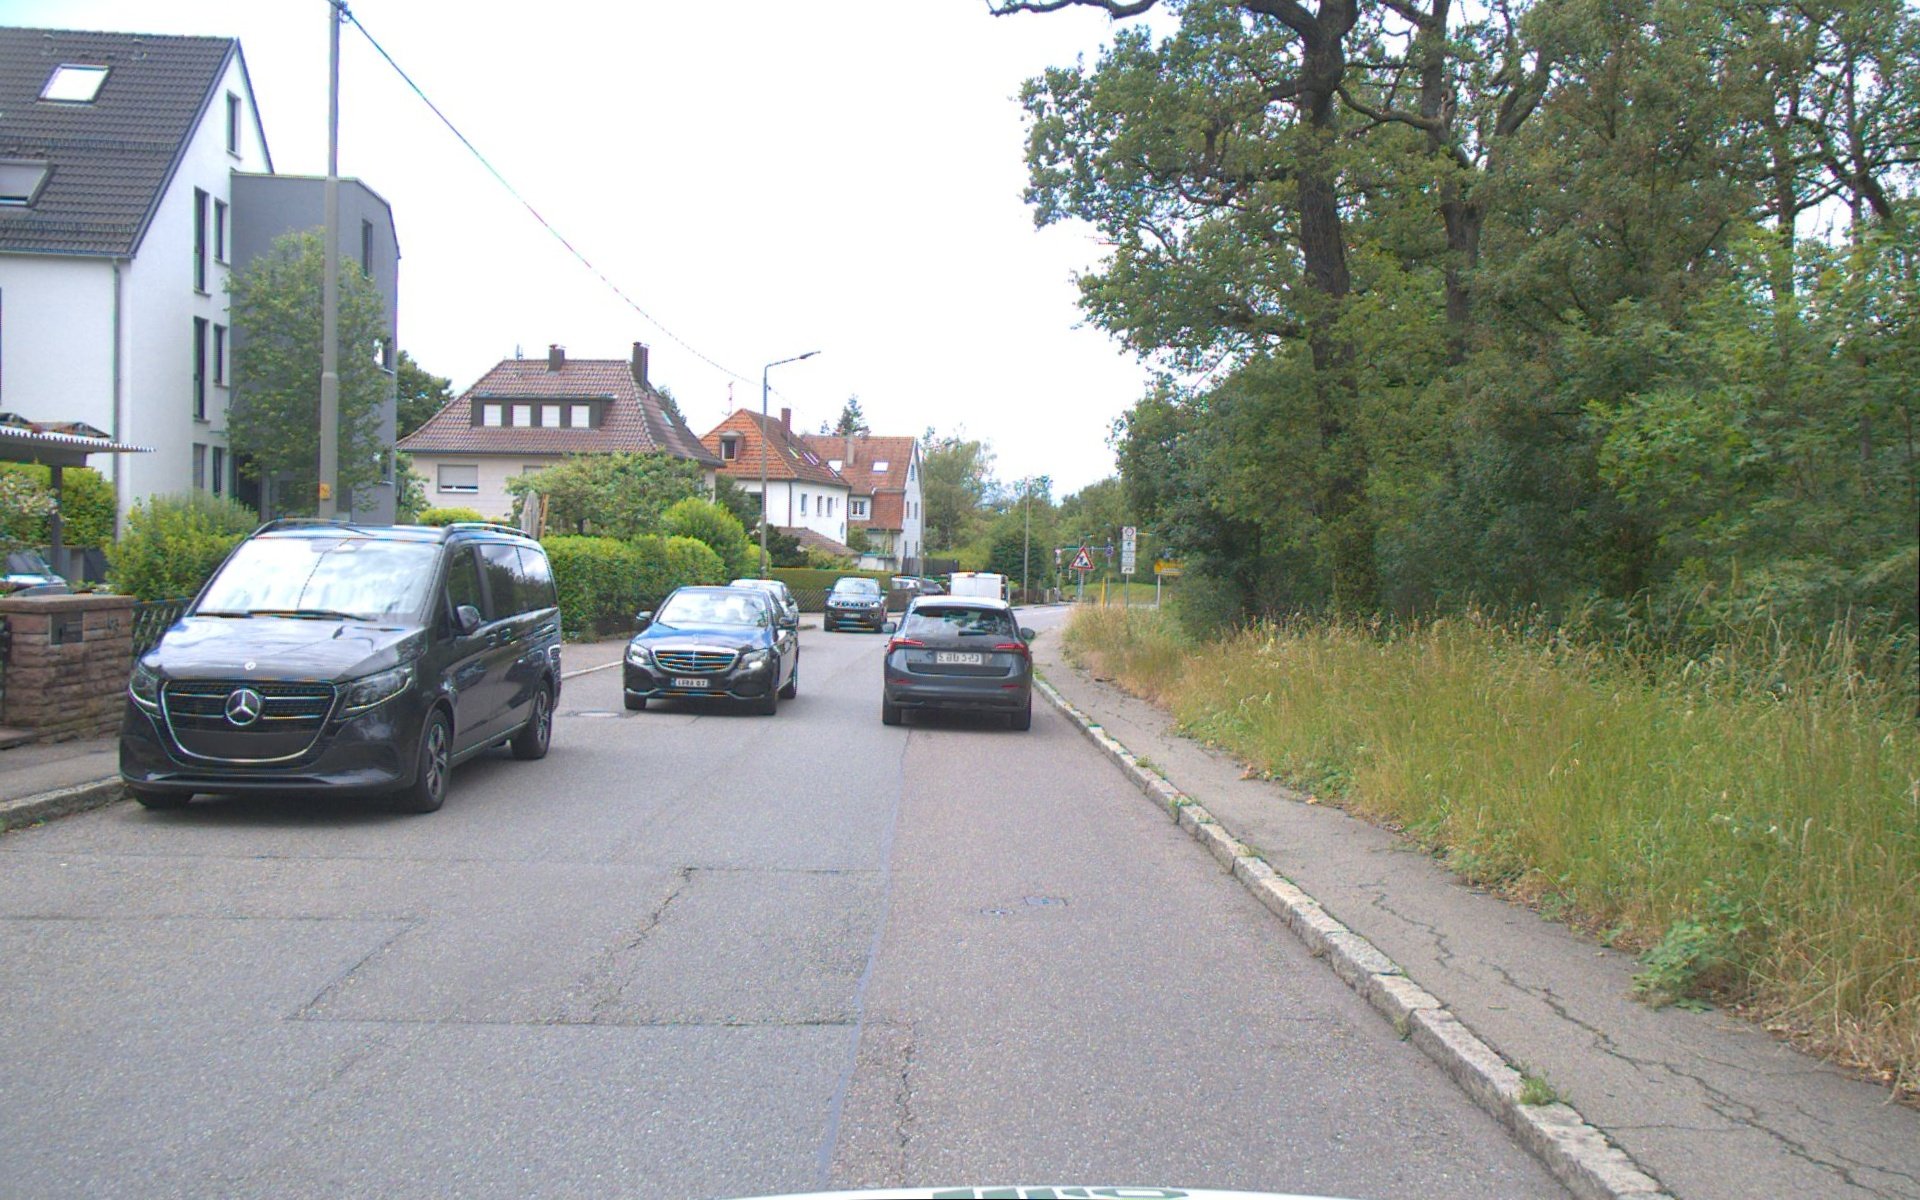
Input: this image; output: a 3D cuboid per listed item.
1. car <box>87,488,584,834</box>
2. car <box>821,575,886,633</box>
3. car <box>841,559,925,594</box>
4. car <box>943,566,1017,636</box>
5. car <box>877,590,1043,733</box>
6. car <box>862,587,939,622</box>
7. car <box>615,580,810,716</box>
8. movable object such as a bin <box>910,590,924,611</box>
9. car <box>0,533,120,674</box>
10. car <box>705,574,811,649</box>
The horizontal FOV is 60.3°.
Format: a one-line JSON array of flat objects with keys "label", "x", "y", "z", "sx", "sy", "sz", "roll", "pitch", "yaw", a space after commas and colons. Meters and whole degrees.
[{"label": "car", "x": -4.253, "y": 0.348, "z": 12.288, "sx": 1.825, "sy": 1.960, "sz": 5.036, "roll": 3, "pitch": 0, "yaw": -2}, {"label": "car", "x": -3.278, "y": 0.079, "z": 51.490, "sx": 1.797, "sy": 1.624, "sz": 4.323, "roll": 2, "pitch": 1, "yaw": -2}, {"label": "car", "x": -3.854, "y": -1.162, "z": 83.495, "sx": 3.902, "sy": 1.646, "sz": 2.002, "roll": 2, "pitch": 0, "yaw": 8}, {"label": "car", "x": 0.668, "y": 0.013, "z": 50.930, "sx": 2.028, "sy": 1.955, "sz": 4.924, "roll": 2, "pitch": 0, "yaw": 3}, {"label": "car", "x": -0.103, "y": 0.651, "z": 20.032, "sx": 1.694, "sy": 1.464, "sz": 4.321, "roll": 2, "pitch": 0, "yaw": -4}, {"label": "car", "x": -3.153, "y": 0.239, "z": 88.025, "sx": 3.904, "sy": 1.735, "sz": 1.917, "roll": 2, "pitch": 0, "yaw": 1}, {"label": "car", "x": -2.974, "y": 0.525, "z": 20.769, "sx": 1.825, "sy": 1.439, "sz": 4.591, "roll": 3, "pitch": 0, "yaw": -2}, {"label": "movable object such as a bin", "x": -2.086, "y": 0.017, "z": 79.784, "sx": 0.586, "sy": 0.967, "sz": 0.580, "roll": 2, "pitch": 0, "yaw": 6}, {"label": "car", "x": -13.574, "y": -0.025, "z": 21.722, "sx": 4.041, "sy": 1.726, "sz": 1.999, "roll": 1, "pitch": 2, "yaw": -5}, {"label": "car", "x": -4.508, "y": 0.245, "z": 37.410, "sx": 1.747, "sy": 1.526, "sz": 4.015, "roll": 3, "pitch": 0, "yaw": 1}]
